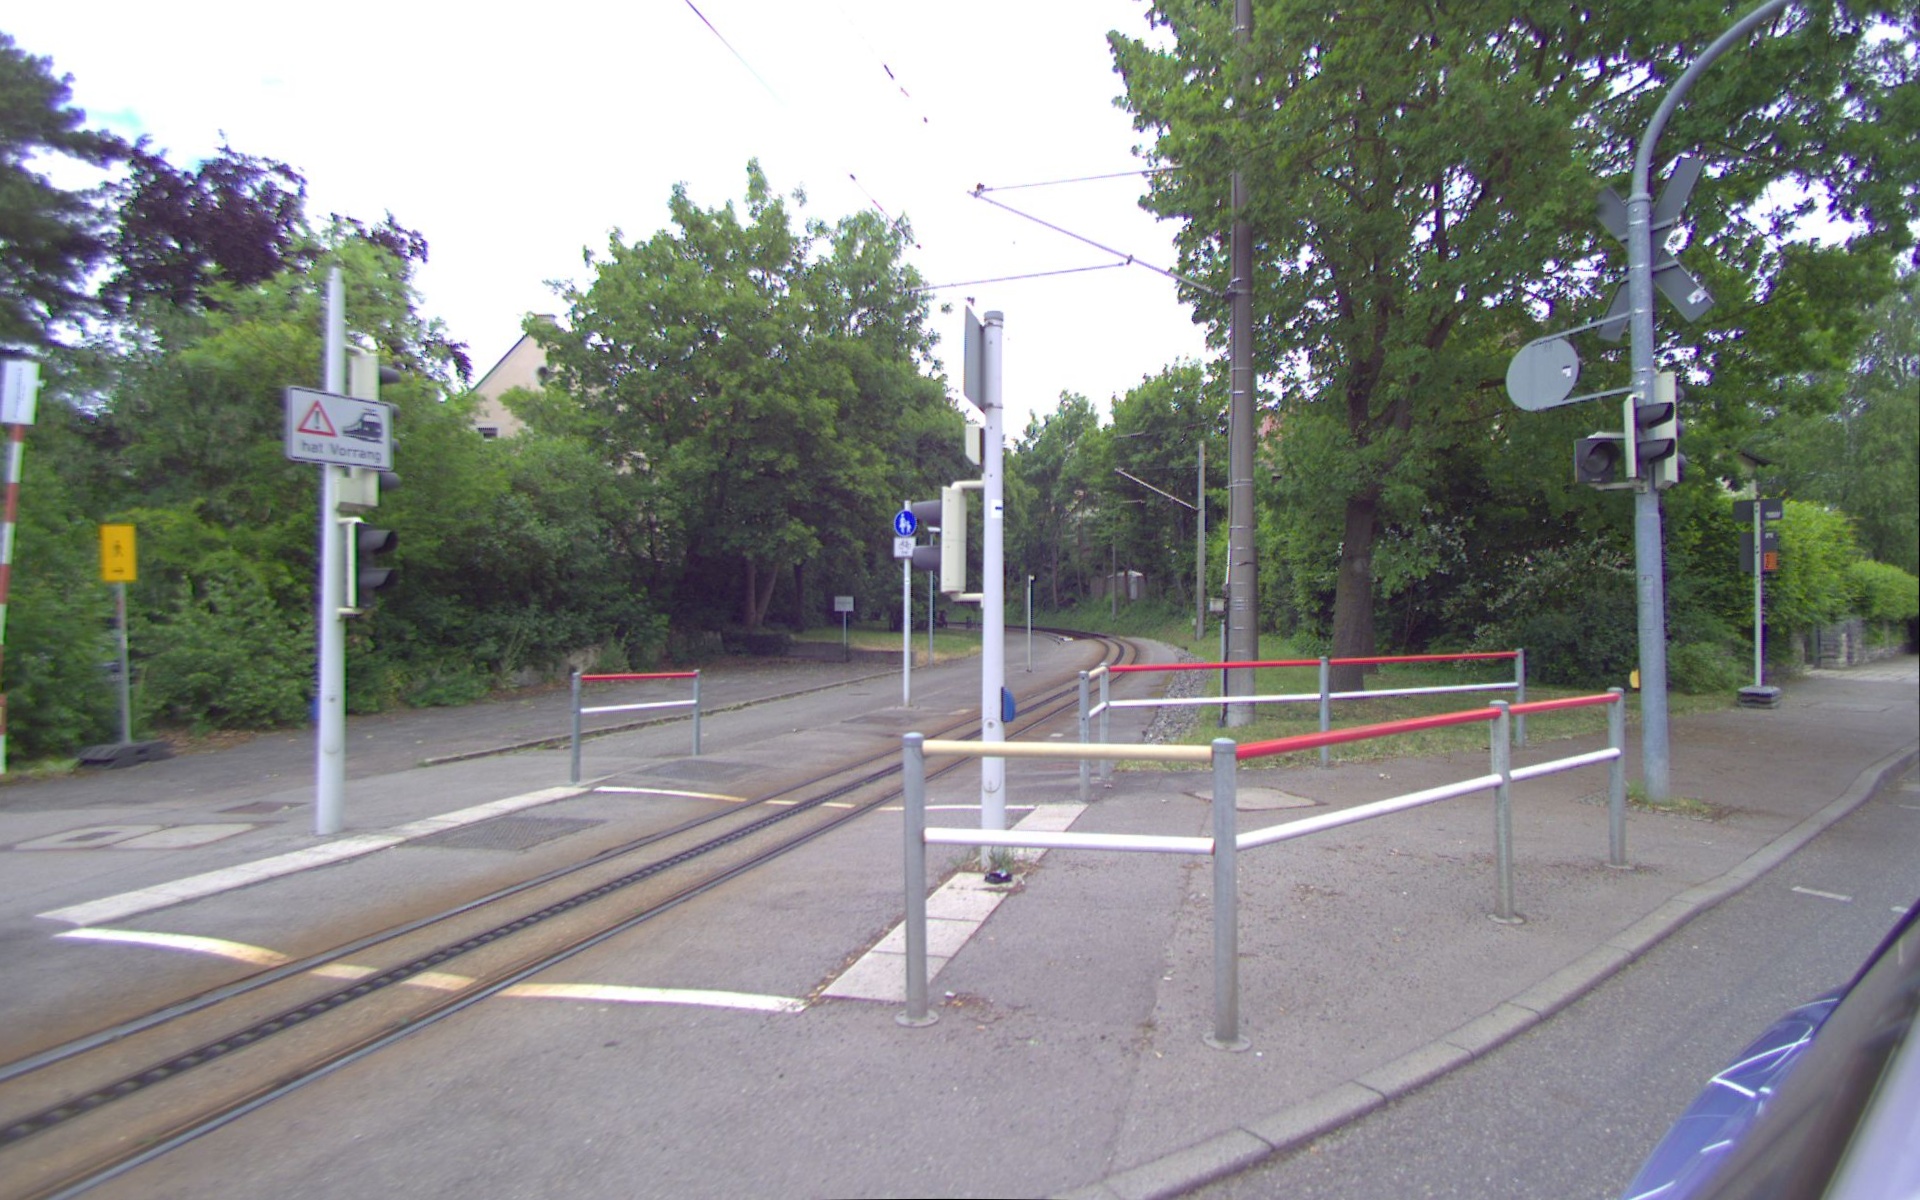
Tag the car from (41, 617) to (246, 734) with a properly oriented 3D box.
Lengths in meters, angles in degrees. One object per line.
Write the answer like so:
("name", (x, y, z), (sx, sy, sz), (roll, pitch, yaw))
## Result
("car", (-12.443, 1.056, 15.308), (1.968, 1.482, 4.505), (0, -2, -45))
